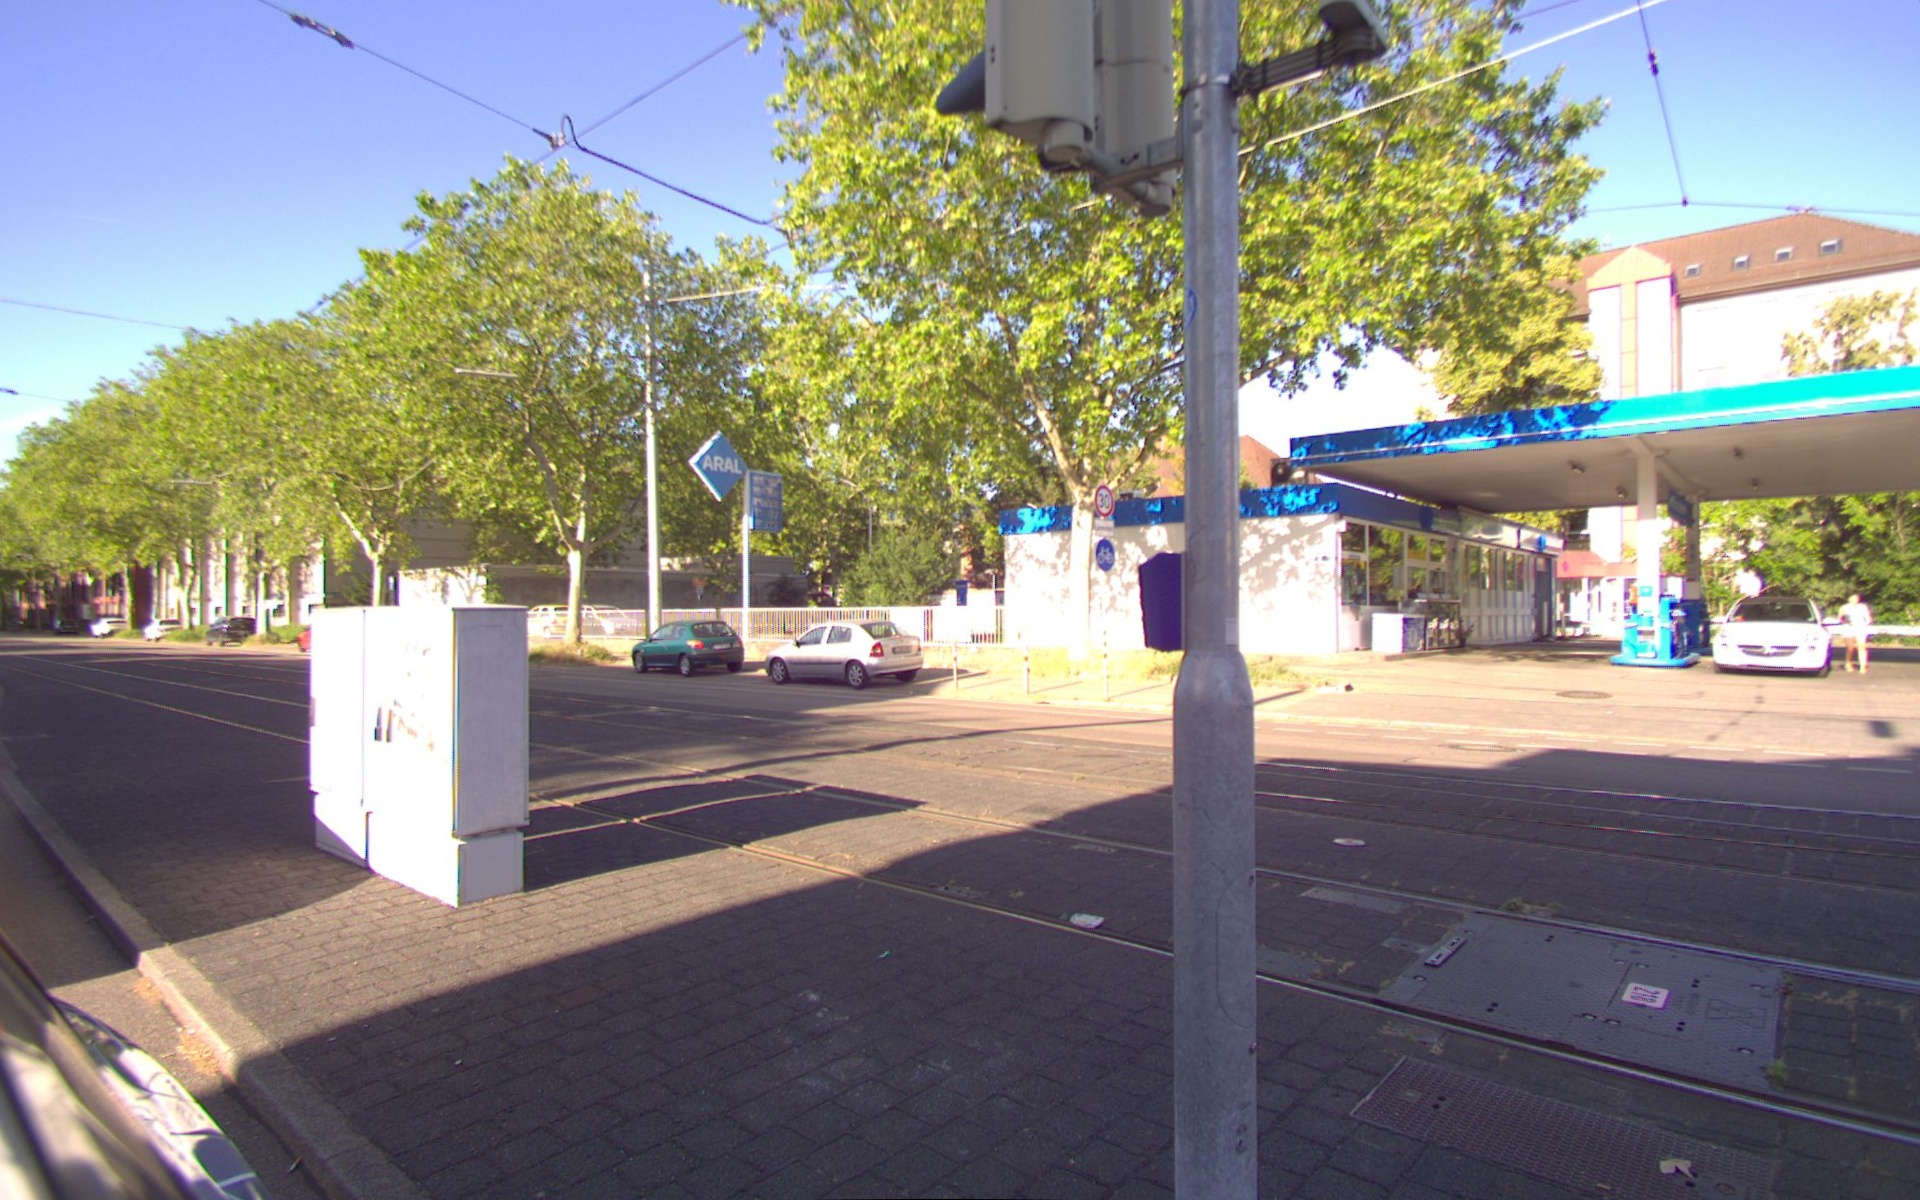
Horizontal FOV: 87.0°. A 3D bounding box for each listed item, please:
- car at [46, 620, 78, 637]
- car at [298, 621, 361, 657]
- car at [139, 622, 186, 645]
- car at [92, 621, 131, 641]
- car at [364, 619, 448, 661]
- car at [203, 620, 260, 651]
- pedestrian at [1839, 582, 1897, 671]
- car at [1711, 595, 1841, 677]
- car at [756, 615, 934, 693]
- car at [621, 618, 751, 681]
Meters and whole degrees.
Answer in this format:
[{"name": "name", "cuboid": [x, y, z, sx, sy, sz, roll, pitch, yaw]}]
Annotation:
[{"name": "car", "cuboid": [-85.327, 2.718, 96.123, 3.998, 1.525, 1.779, -1, -1, 41]}, {"name": "car", "cuboid": [-28.558, 1.743, 45.806, 3.045, 1.519, 1.620, -1, -1, 41]}, {"name": "car", "cuboid": [-53.724, 2.255, 68.170, 3.998, 1.509, 1.779, -1, -1, 41]}, {"name": "car", "cuboid": [-66.688, 2.390, 79.535, 3.998, 1.525, 1.779, -1, -1, 41]}, {"name": "car", "cuboid": [-21.945, 1.543, 40.058, 3.652, 1.541, 1.802, -1, -1, 41]}, {"name": "car", "cuboid": [-40.758, 1.944, 56.597, 3.998, 1.674, 1.779, -1, -1, 41]}, {"name": "pedestrian", "cuboid": [17.869, 0.514, 19.934, 0.760, 1.705, 0.579, -1, -2, 37]}, {"name": "car", "cuboid": [16.024, 0.669, 19.914, 1.812, 1.453, 3.947, -1, -1, 39]}, {"name": "car", "cuboid": [-2.633, 1.153, 22.669, 3.965, 1.475, 1.771, -1, 2, 43]}, {"name": "car", "cuboid": [-7.331, 1.270, 26.938, 3.519, 1.475, 1.670, -1, 2, 43]}]
